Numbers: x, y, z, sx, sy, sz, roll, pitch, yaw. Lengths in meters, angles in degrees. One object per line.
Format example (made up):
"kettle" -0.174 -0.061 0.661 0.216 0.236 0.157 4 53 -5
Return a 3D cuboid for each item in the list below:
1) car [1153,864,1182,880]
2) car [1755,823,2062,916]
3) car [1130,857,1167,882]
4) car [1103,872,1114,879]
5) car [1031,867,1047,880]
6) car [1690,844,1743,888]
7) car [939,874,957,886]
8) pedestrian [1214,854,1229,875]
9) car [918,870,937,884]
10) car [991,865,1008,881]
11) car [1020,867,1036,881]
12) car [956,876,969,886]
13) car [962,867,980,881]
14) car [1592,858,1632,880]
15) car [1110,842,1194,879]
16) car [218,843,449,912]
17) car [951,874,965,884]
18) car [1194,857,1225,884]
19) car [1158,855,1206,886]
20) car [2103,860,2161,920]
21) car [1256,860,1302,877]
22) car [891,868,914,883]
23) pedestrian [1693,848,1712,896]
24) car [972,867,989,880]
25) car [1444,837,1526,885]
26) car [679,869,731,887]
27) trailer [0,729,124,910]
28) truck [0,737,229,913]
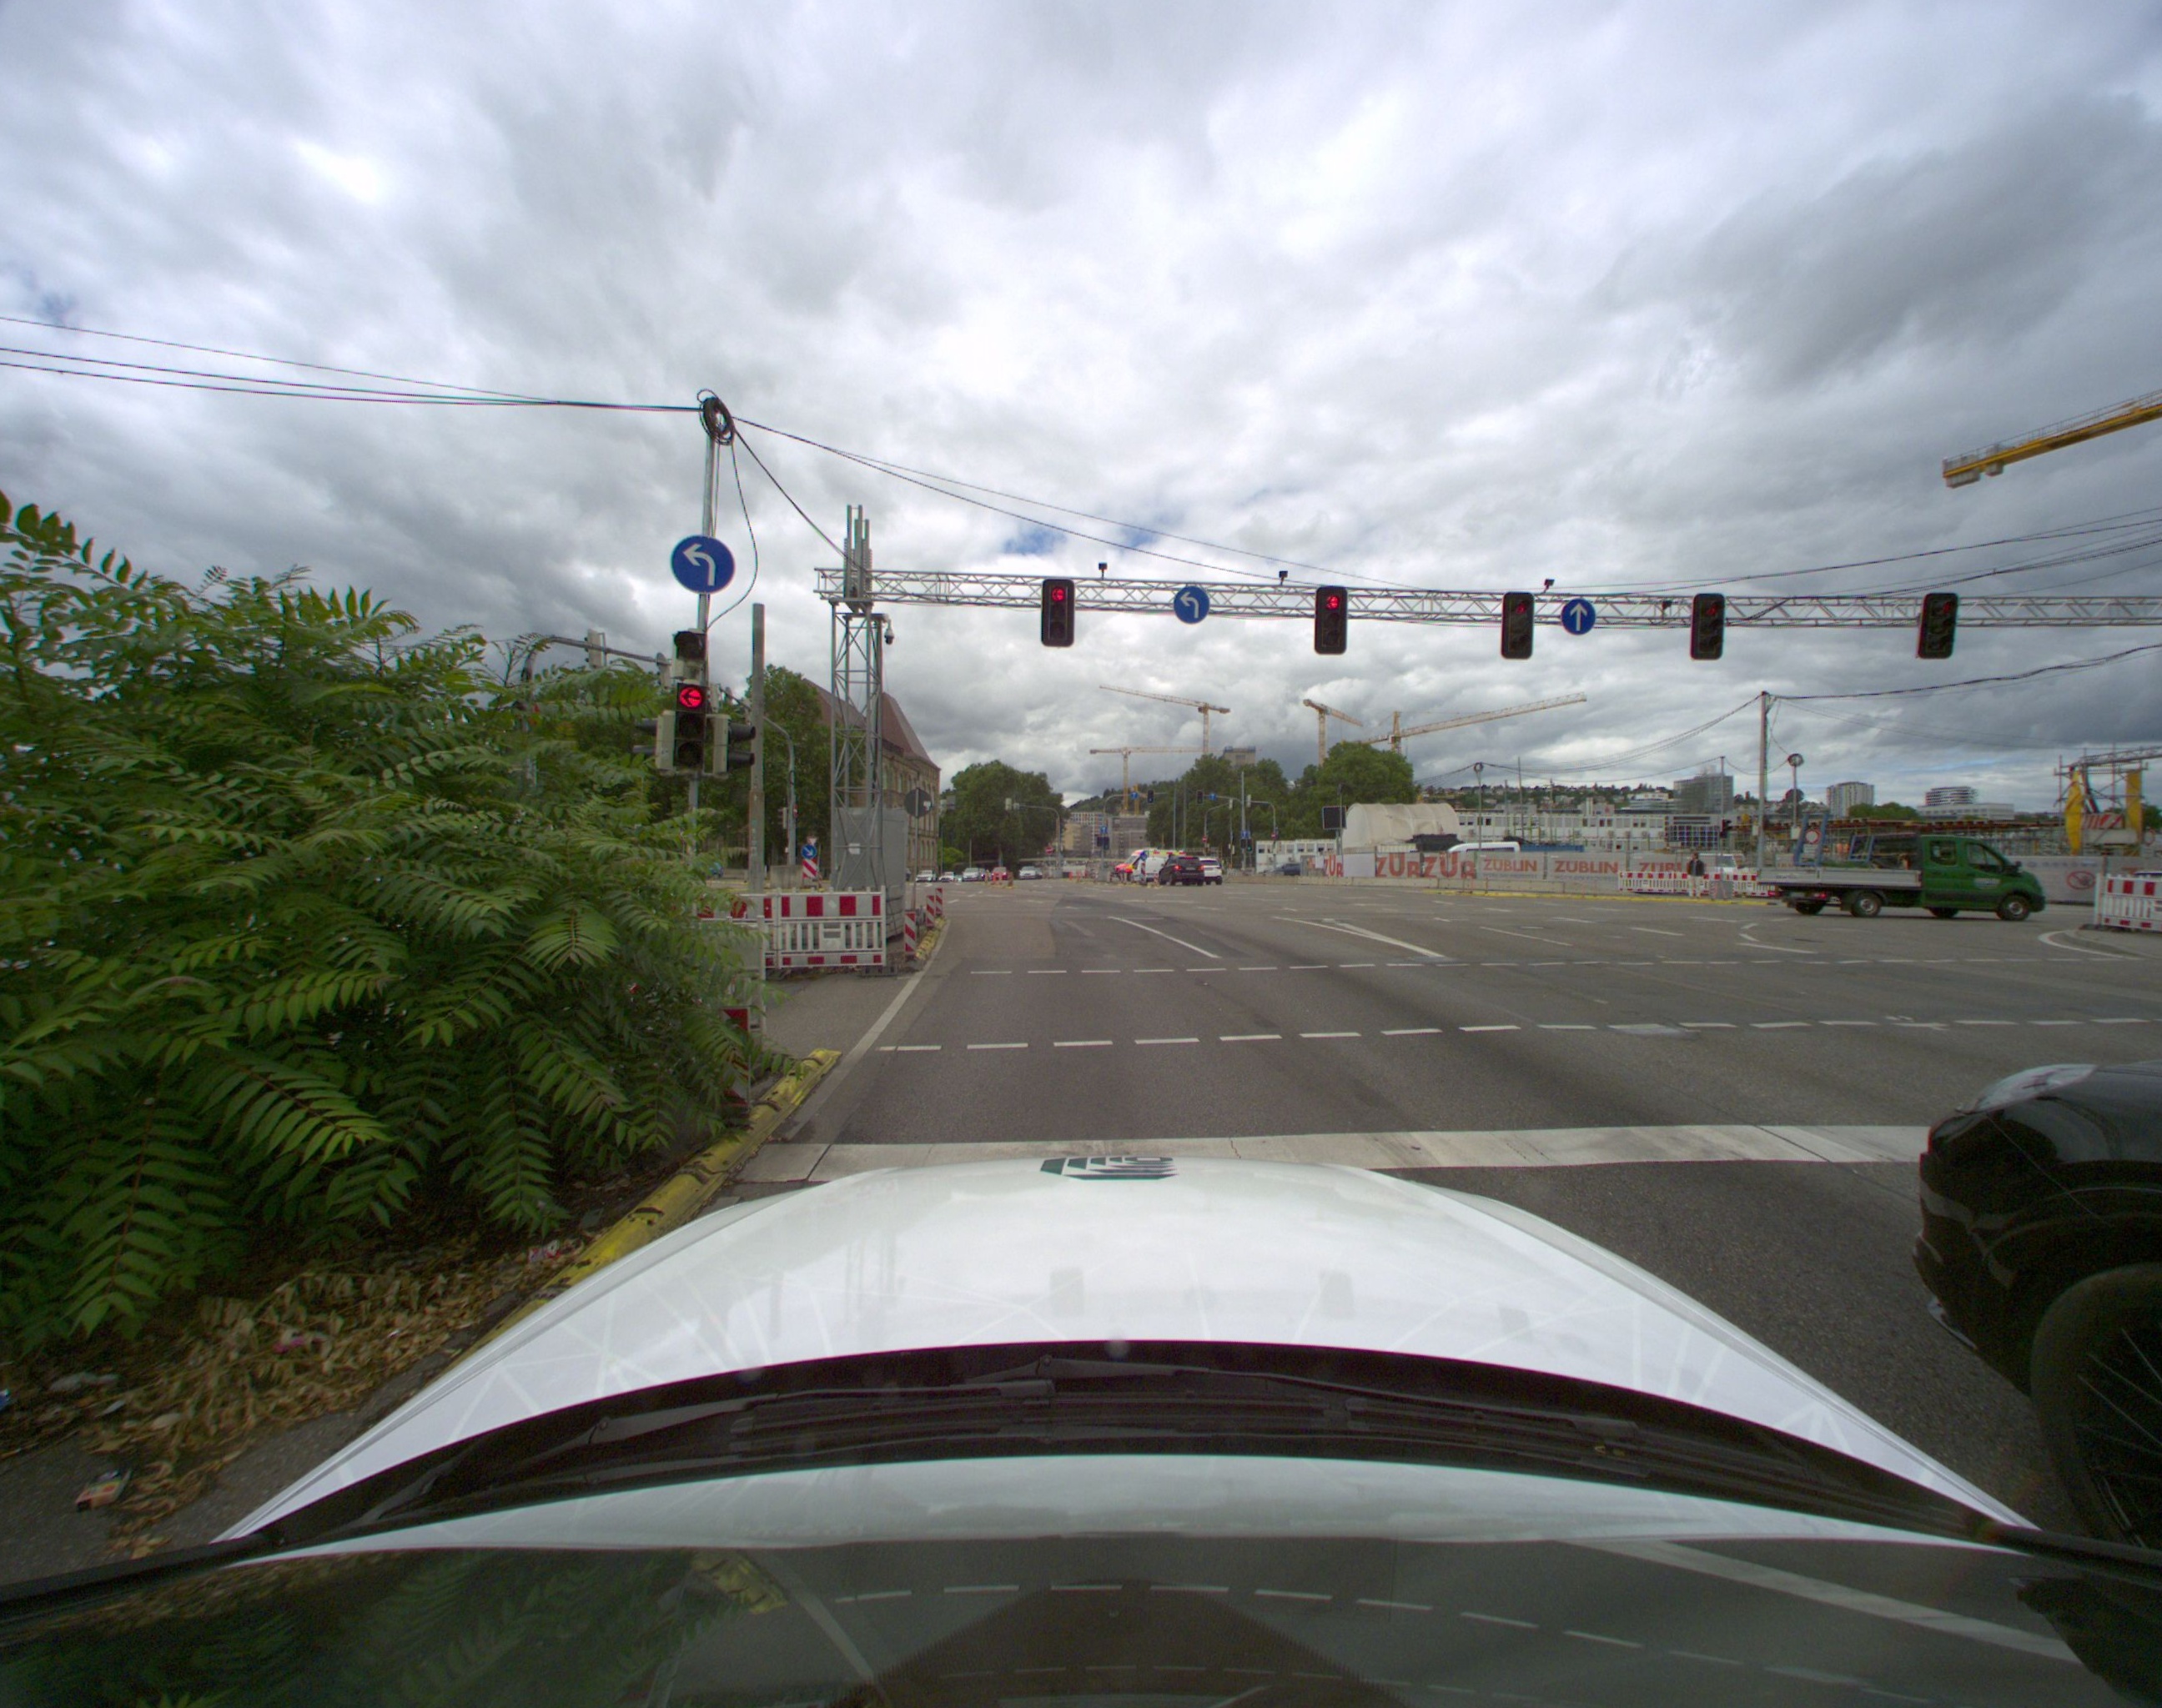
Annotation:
"car" 8.017 1.663 75.957 1.680 1.398 3.069 0 -1 -16
"car" 21.727 0.405 21.607 5.737 2.305 2.304 0 -1 1
"car" 4.562 1.011 55.576 1.814 1.625 3.992 0 -1 -5
"car" 4.550 3.545 134.272 1.307 1.075 3.675 0 0 -6
"car" -4.770 2.173 92.283 1.673 1.398 3.677 0 0 -4
"car" 30.127 0.558 38.695 1.755 1.954 3.146 -1 -1 34
"car" -17.289 3.332 106.030 1.671 1.398 3.681 1 0 -1
"pedestrian" 13.709 1.040 79.465 1.094 2.014 1.181 0 -1 -10
"car" -17.232 2.569 91.766 1.673 1.398 3.677 0 0 -4
"car" -8.481 1.978 85.091 1.673 1.580 3.677 0 -1 -4
"car" -5.589 2.050 85.368 1.673 1.398 3.677 0 0 -4
"car" -18.206 4.168 125.600 1.673 1.398 3.677 0 0 -4
"car" -11.621 2.099 86.076 1.673 1.398 3.677 0 0 -4
"car" 38.022 1.071 58.407 1.661 1.528 4.021 -1 -1 22
"car" 5.999 0.511 69.112 6.753 3.052 2.358 0 -1 -17
"car" -18.622 0.565 20.427 4.041 1.625 1.829 0 -1 -1
"car" -17.480 3.522 116.112 1.673 1.398 3.677 0 0 -4
"car" 8.497 1.057 54.040 1.670 1.702 3.375 0 -1 2
"car" 5.954 0.936 48.491 1.830 1.746 4.244 0 -1 -8
"car" 32.288 0.988 22.959 4.691 1.625 1.682 0 -1 2
"car" 19.281 1.418 79.467 3.996 1.625 1.812 0 -1 -17
"car" -17.416 2.071 79.540 1.673 1.398 3.677 0 0 -4
"pedestrian" 25.755 0.755 33.766 0.581 1.976 0.437 0 0 43
"car" -11.367 2.246 92.233 1.673 1.398 3.677 0 0 -4
"car" 23.225 0.417 46.969 3.957 2.661 1.688 -1 -1 15
"car" -30.599 1.913 66.243 3.695 1.398 1.665 0 -1 -32
"trailer" -32.430 -0.761 20.003 13.708 4.281 2.945 0 -1 -3
"truck" -25.329 -0.659 20.330 4.864 4.064 2.942 0 -1 -3
